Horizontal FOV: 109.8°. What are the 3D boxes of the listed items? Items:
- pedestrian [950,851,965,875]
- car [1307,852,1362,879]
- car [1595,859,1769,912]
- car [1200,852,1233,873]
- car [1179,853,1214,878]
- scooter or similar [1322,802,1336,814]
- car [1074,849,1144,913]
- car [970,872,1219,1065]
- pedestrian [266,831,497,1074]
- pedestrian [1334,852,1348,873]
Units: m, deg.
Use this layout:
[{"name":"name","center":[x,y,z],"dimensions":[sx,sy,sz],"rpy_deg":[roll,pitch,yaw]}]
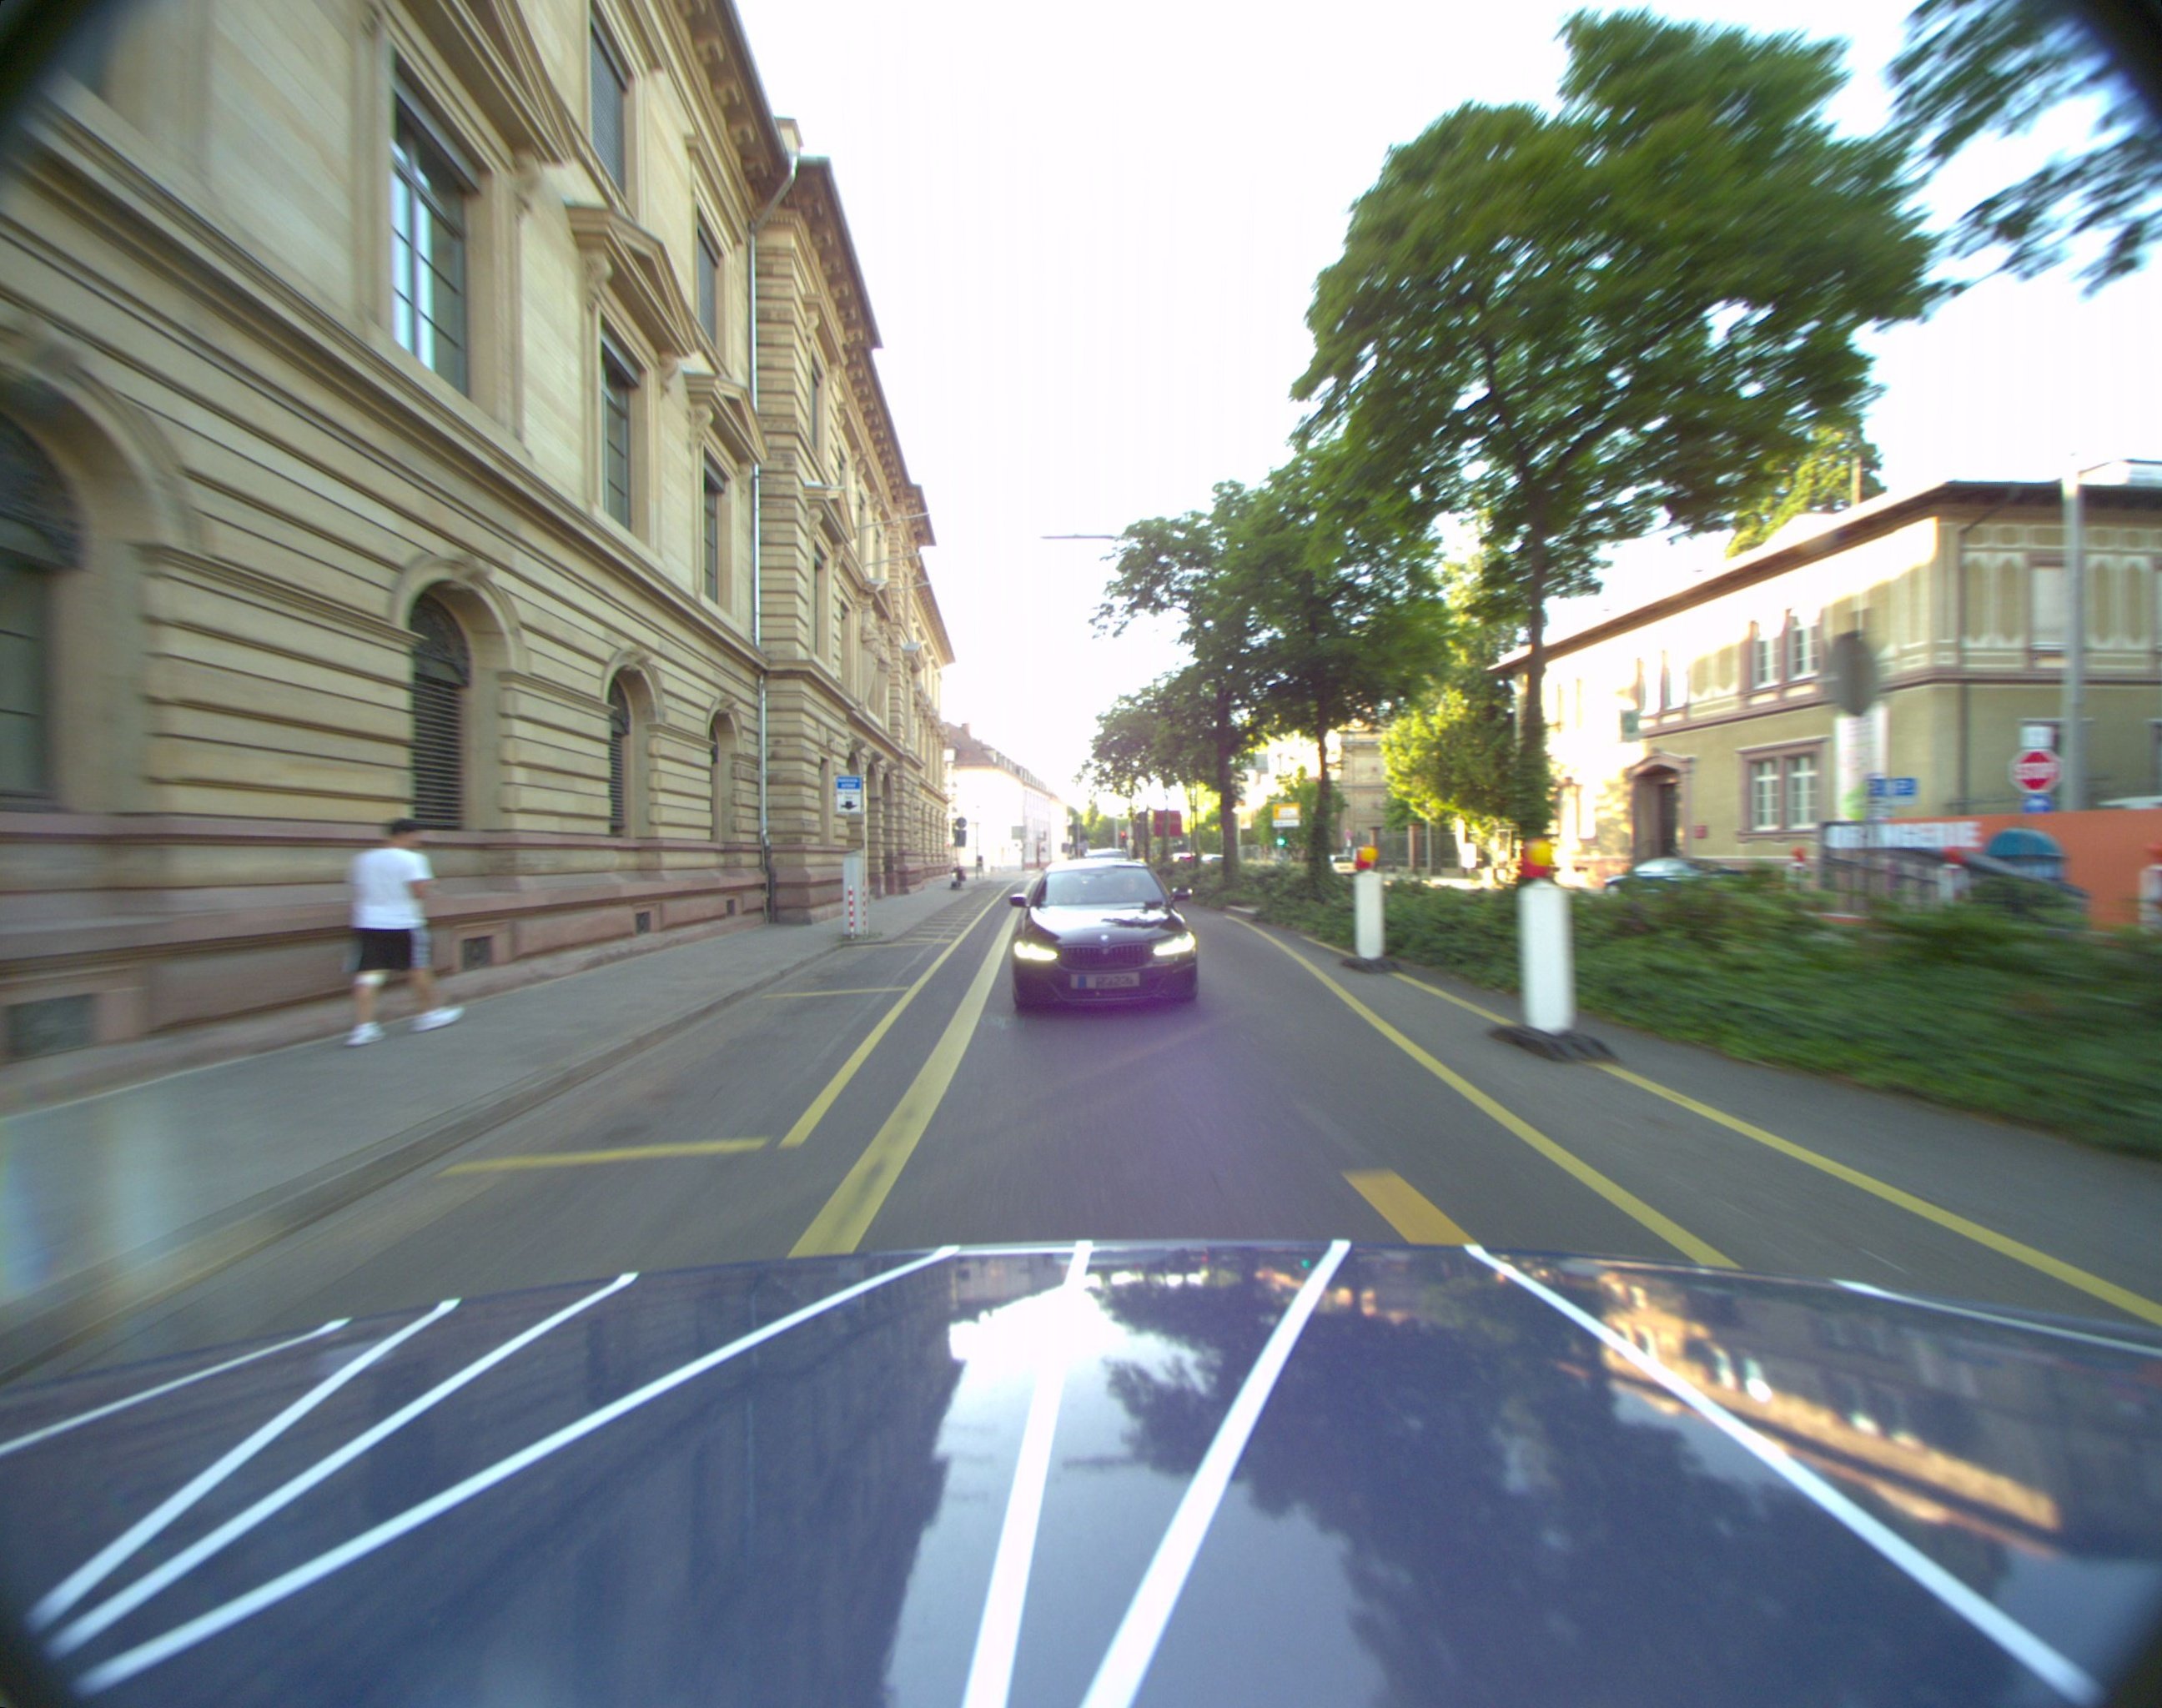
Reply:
[{"name":"pedestrian","center":[-10.126,0.731,62.298],"dimensions":[0.786,2.002,0.996],"rpy_deg":[-1,0,21]},{"name":"car","center":[15.614,0.710,47.083],"dimensions":[1.749,1.538,4.369],"rpy_deg":[-2,-1,-3]},{"name":"car","center":[17.112,0.843,21.908],"dimensions":[1.685,1.343,3.885],"rpy_deg":[1,0,-6]},{"name":"car","center":[10.348,0.656,58.268],"dimensions":[1.847,1.542,4.175],"rpy_deg":[1,0,1]},{"name":"car","center":[7.289,0.701,47.605],"dimensions":[1.848,1.538,4.123],"rpy_deg":[0,0,13]},{"name":"scooter or similar","center":[18.398,-3.402,56.457],"dimensions":[0.679,0.773,1.028],"rpy_deg":[-1,0,-1]},{"name":"car","center":[0.819,0.726,22.699],"dimensions":[1.838,1.674,4.224],"rpy_deg":[-2,0,2]},{"name":"car","center":[0.177,0.978,8.479],"dimensions":[1.964,1.378,4.781],"rpy_deg":[-1,0,2]},{"name":"pedestrian","center":[-5.528,0.727,6.090],"dimensions":[0.819,1.755,1.038],"rpy_deg":[-2,0,1]},{"name":"pedestrian","center":[19.532,0.619,57.066],"dimensions":[0.737,1.569,0.762],"rpy_deg":[-1,0,0]}]
